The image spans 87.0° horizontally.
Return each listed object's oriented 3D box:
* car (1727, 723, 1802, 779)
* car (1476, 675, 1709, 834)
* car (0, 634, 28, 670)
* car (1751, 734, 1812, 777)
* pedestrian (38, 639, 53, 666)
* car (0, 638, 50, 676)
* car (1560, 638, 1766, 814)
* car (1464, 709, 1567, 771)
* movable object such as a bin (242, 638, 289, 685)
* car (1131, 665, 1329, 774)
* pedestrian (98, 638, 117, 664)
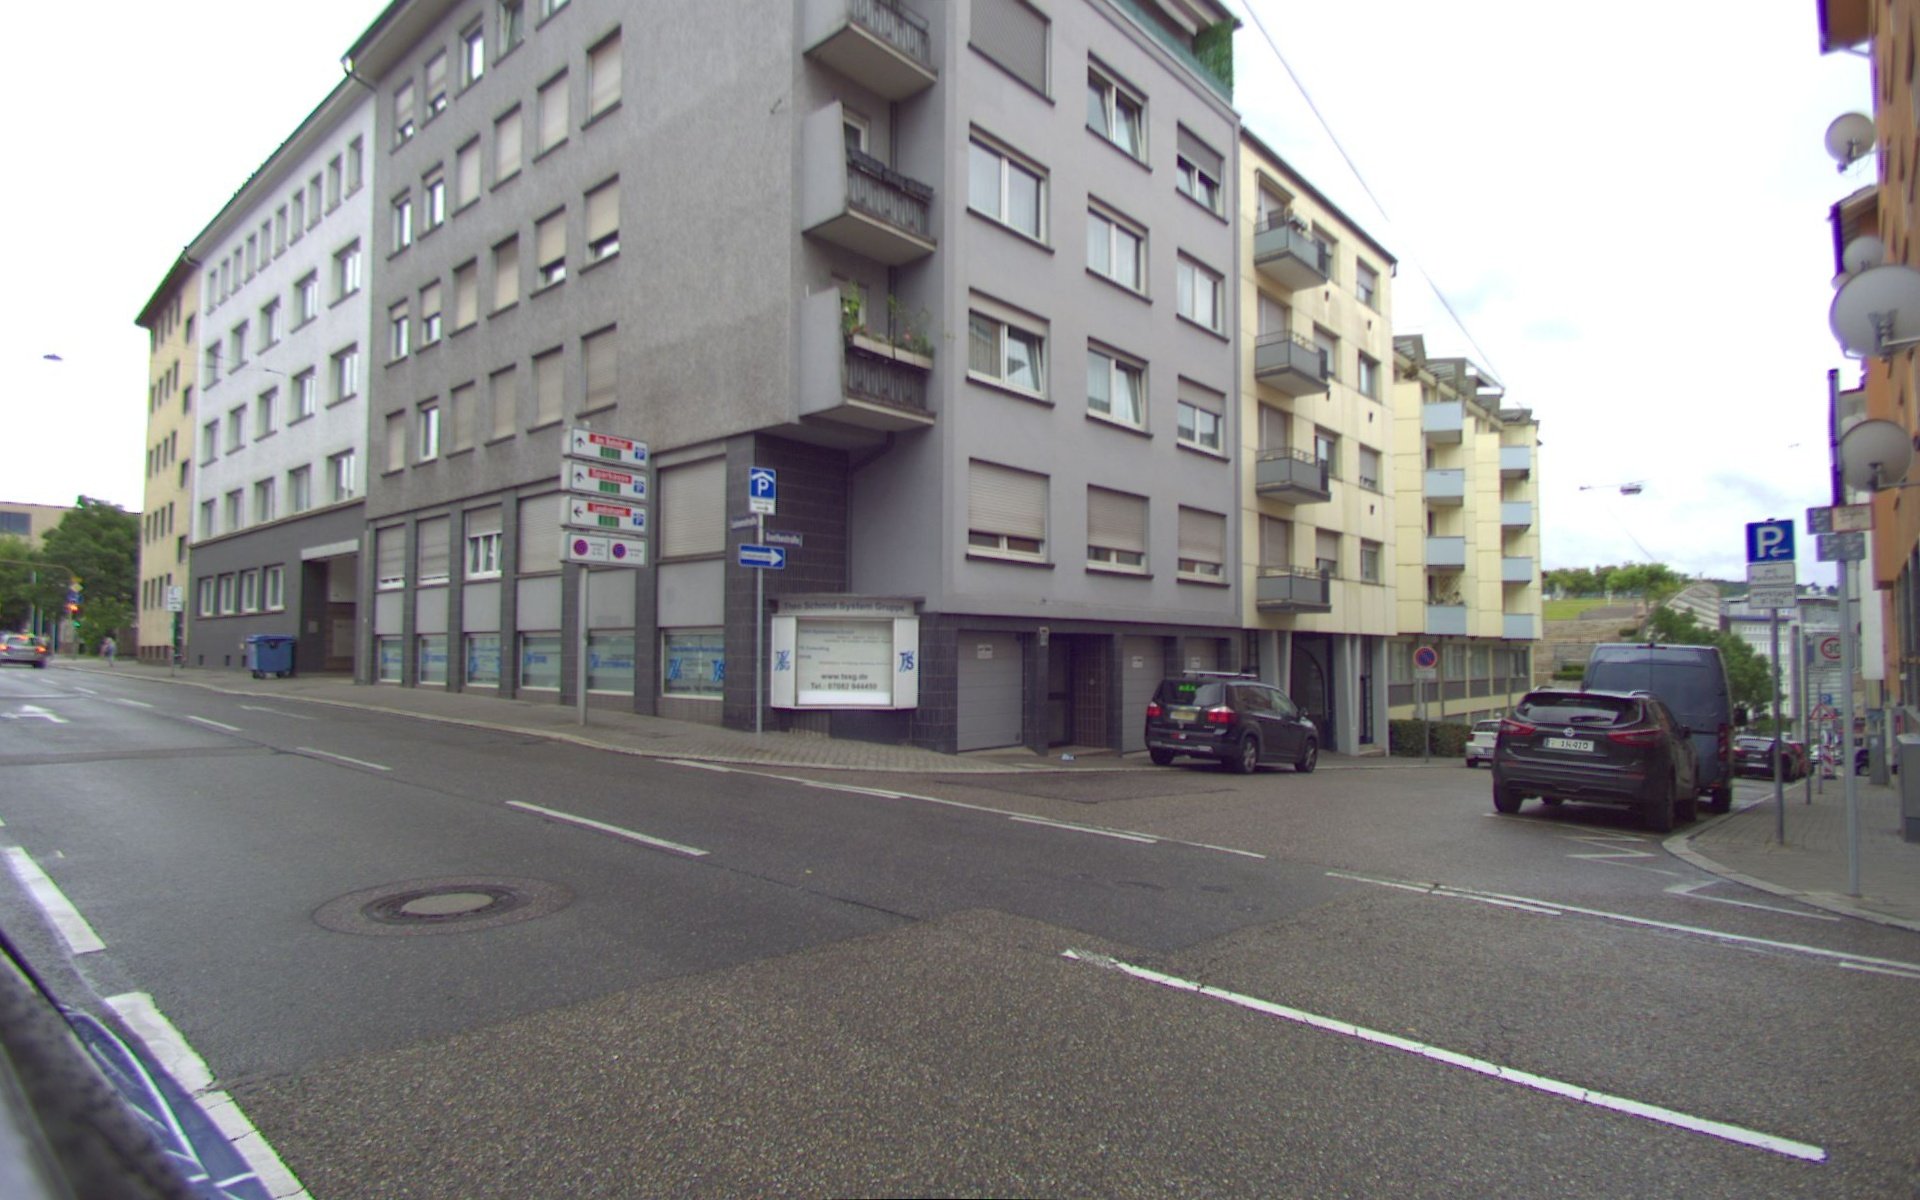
[{"bbox_3d":[27.723,5.208,34.820,1.817,1.688,3.998,-1,-8,41],"label":"car"},{"bbox_3d":[8.052,1.903,12.719,1.842,1.589,4.098,-1,-8,41],"label":"car"},{"bbox_3d":[-49.335,2.658,50.578,1.902,1.728,3.878,-2,0,42],"label":"car"},{"bbox_3d":[32.858,6.219,40.458,1.722,1.506,3.998,-1,-8,41],"label":"car"},{"bbox_3d":[-47.700,2.737,52.795,0.535,1.380,0.436,-2,-6,43],"label":"pedestrian"},{"bbox_3d":[-42.270,2.500,45.225,4.371,1.602,1.858,-1,-3,41],"label":"car"},{"bbox_3d":[12.247,2.141,17.422,2.249,2.481,5.975,-1,-7,41],"label":"car"},{"bbox_3d":[16.289,4.089,29.566,1.840,1.559,3.945,-1,-7,41],"label":"car"},{"bbox_3d":[-21.224,1.867,30.920,1.096,1.343,0.933,-2,0,42],"label":"movable object such as a bin"},{"bbox_3d":[5.023,2.210,18.450,1.794,1.700,4.186,-1,-8,41],"label":"car"},{"bbox_3d":[-38.728,2.322,45.971,0.574,1.158,0.407,6,-6,-43],"label":"pedestrian"}]
